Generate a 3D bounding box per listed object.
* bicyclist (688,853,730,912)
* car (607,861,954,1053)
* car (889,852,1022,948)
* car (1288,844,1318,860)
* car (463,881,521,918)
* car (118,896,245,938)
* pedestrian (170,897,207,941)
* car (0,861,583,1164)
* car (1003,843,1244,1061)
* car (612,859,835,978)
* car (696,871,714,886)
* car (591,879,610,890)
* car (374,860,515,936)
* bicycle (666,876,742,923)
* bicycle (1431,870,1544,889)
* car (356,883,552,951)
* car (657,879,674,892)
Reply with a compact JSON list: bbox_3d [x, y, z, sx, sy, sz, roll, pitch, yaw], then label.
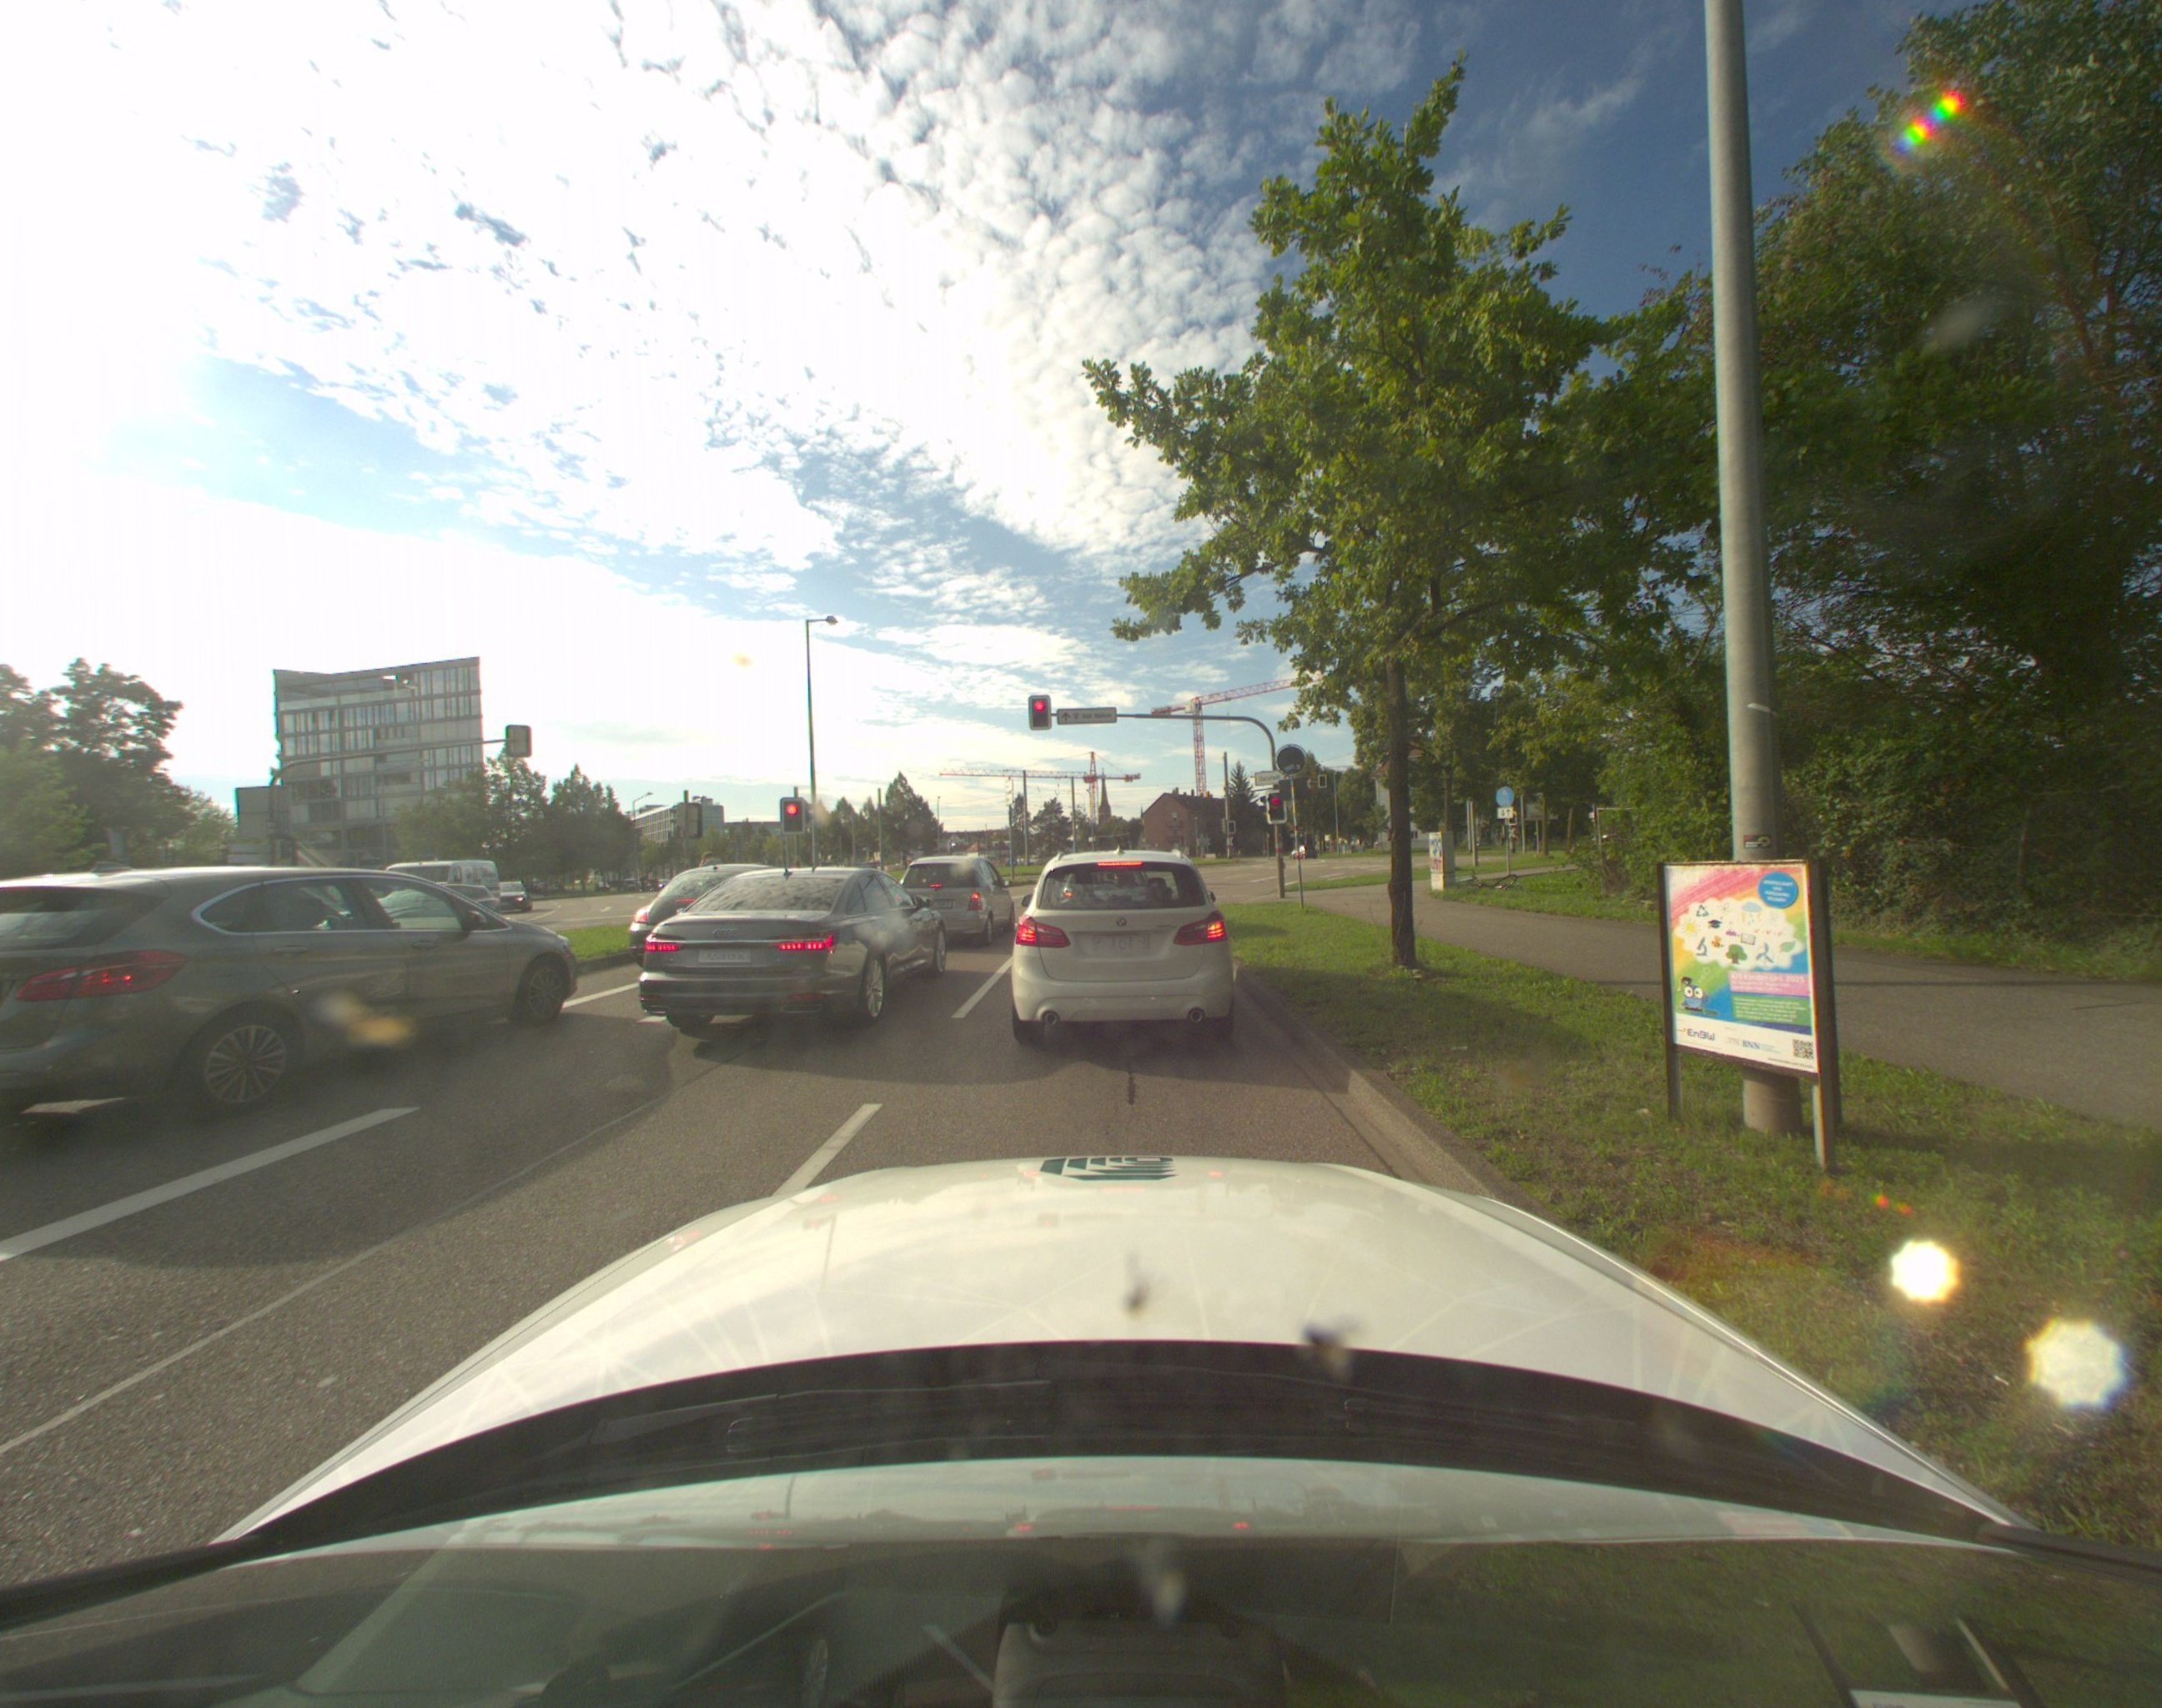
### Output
[{"bbox_3d":[-10.110,0.756,22.138,0.850,1.526,0.737,-3,-1,-15],"label":"bicyclist"},{"bbox_3d":[-2.748,0.836,8.771,1.883,1.483,4.614,-1,-1,2],"label":"car"},{"bbox_3d":[-2.227,0.763,15.523,1.722,1.558,4.060,-1,0,2],"label":"car"},{"bbox_3d":[24.242,-0.179,88.933,1.575,1.574,3.176,-3,0,-21],"label":"car"},{"bbox_3d":[-26.372,2.012,36.534,1.923,1.433,4.181,-4,0,-35],"label":"car"},{"bbox_3d":[-43.326,2.991,39.375,1.690,1.770,4.023,-2,-2,44],"label":"car"},{"bbox_3d":[-33.411,2.410,30.487,0.654,1.569,0.614,-2,-1,-5],"label":"pedestrian"},{"bbox_3d":[-6.014,0.864,6.294,1.722,1.558,4.021,-1,0,2],"label":"car"},{"bbox_3d":[0.368,0.718,7.980,1.723,1.558,4.059,-1,0,2],"label":"car"},{"bbox_3d":[-5.289,0.861,12.646,1.674,1.523,3.811,-1,0,1],"label":"car"},{"bbox_3d":[-41.051,2.669,88.931,1.715,1.574,3.966,-2,0,-25],"label":"car"},{"bbox_3d":[-76.914,4.918,130.369,1.723,1.691,3.951,-2,-1,-42],"label":"car"},{"bbox_3d":[-22.067,1.455,28.585,2.000,2.235,5.885,-4,0,-20],"label":"car"},{"bbox_3d":[-10.204,1.220,22.098,1.728,1.163,0.652,-2,-1,-15],"label":"bicycle"},{"bbox_3d":[10.472,0.643,21.134,1.407,0.385,2.568,-3,0,-9],"label":"bicycle"},{"bbox_3d":[-16.838,1.620,22.196,1.894,1.410,4.208,-5,-1,1],"label":"car"},{"bbox_3d":[-49.296,3.688,96.623,1.600,1.415,3.638,-3,0,-26],"label":"car"}]
